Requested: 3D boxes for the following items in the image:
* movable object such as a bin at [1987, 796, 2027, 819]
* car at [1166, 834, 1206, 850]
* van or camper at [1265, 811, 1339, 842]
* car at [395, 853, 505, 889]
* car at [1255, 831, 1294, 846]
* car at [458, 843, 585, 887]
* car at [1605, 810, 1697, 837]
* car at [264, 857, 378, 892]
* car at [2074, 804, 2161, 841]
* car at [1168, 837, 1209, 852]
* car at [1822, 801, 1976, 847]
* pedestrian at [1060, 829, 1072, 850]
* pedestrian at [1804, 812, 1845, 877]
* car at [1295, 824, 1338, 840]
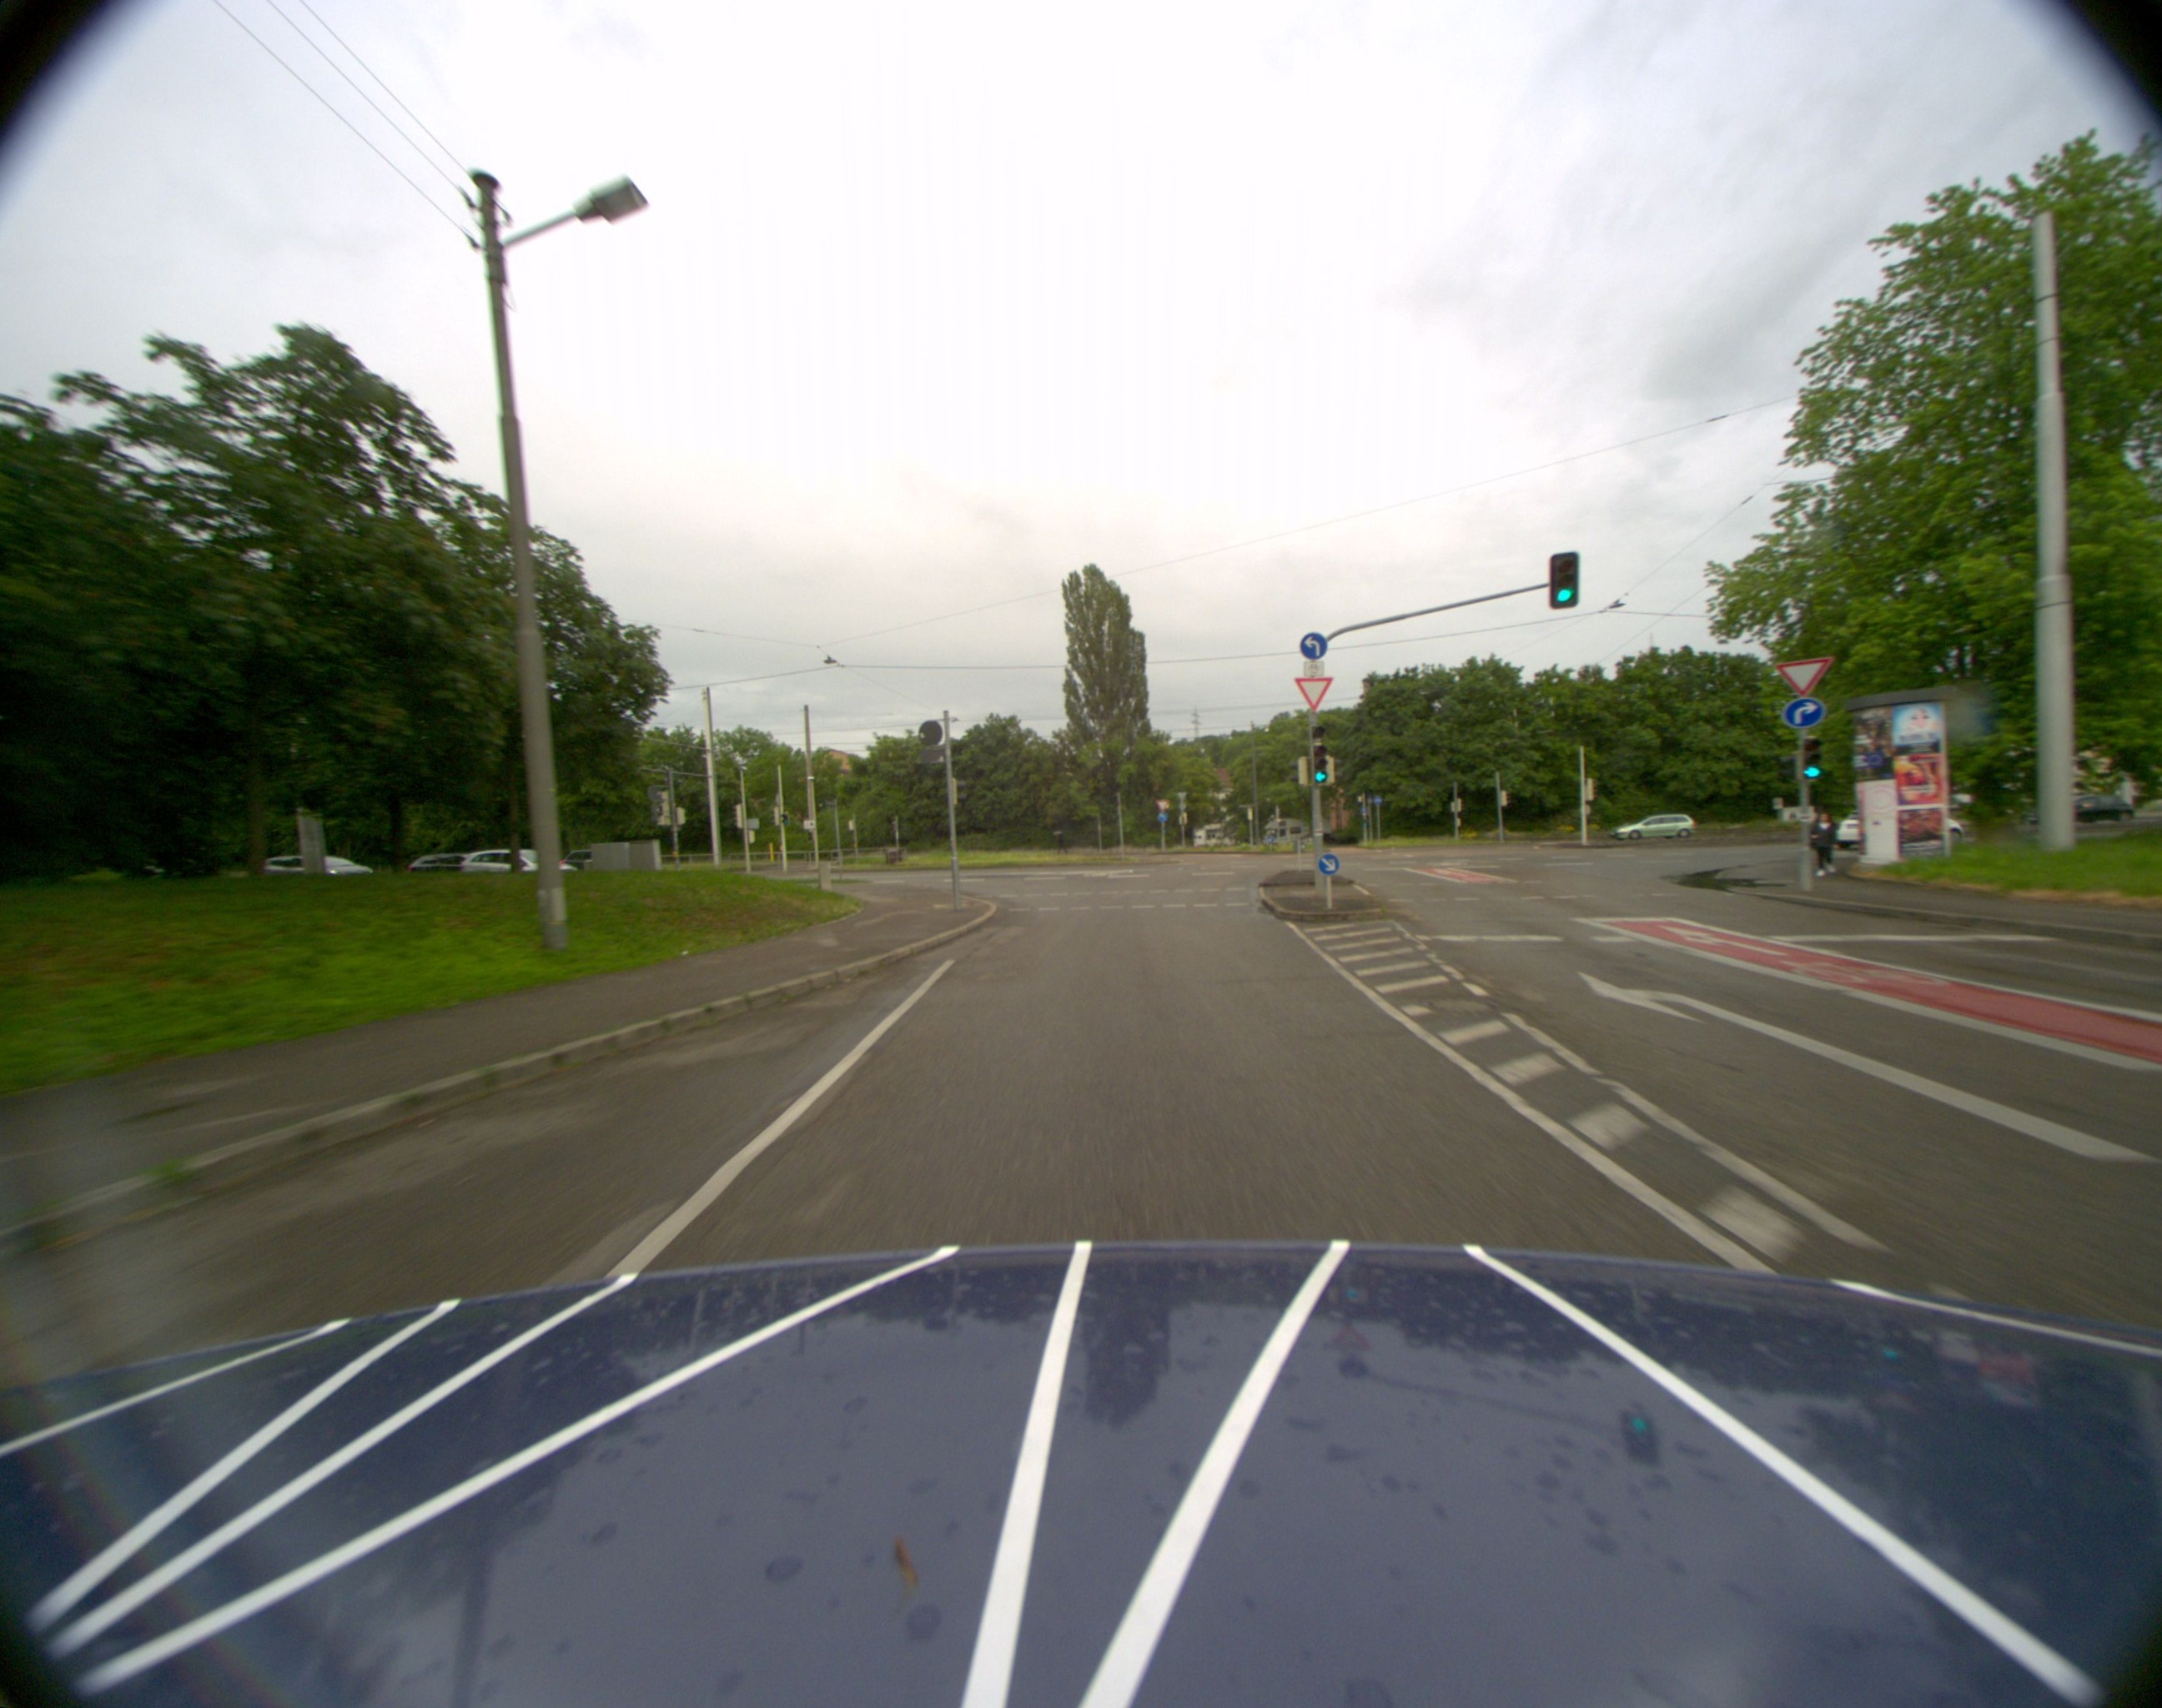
[{"bbox_3d":[62.774,-3.172,51.531,1.133,1.409,1.188,-4,0,6],"label":"movable object such as a bin"},{"bbox_3d":[11.054,-1.244,80.104,3.996,1.540,1.678,-2,1,2],"label":"car"},{"bbox_3d":[21.239,-2.629,73.262,6.424,2.739,2.431,-2,2,5],"label":"van or camper"},{"bbox_3d":[-28.808,0.766,34.749,3.787,1.394,1.606,-2,3,6],"label":"car"},{"bbox_3d":[21.898,-1.781,86.121,3.995,1.540,1.837,-2,1,5],"label":"car"},{"bbox_3d":[-22.688,0.443,30.914,3.858,1.546,1.724,-2,4,5],"label":"car"},{"bbox_3d":[35.414,-1.884,47.294,4.195,1.440,1.890,-2,1,8],"label":"car"},{"bbox_3d":[-35.074,0.937,35.112,3.787,1.394,1.606,-2,3,6],"label":"car"},{"bbox_3d":[47.425,-1.411,34.037,1.768,1.502,3.760,-4,0,19],"label":"car"},{"bbox_3d":[10.939,-1.020,77.713,3.996,1.346,1.678,-2,1,2],"label":"car"},{"bbox_3d":[29.798,-1.094,27.746,3.998,1.474,1.691,-2,2,-4],"label":"car"},{"bbox_3d":[-1.132,-1.093,57.929,0.682,1.597,0.810,-4,0,9],"label":"pedestrian"},{"bbox_3d":[18.334,-0.231,18.728,0.669,1.523,0.591,-4,0,-40],"label":"pedestrian"},{"bbox_3d":[21.802,-2.057,70.375,3.469,1.346,1.678,-2,1,2],"label":"car"}]
